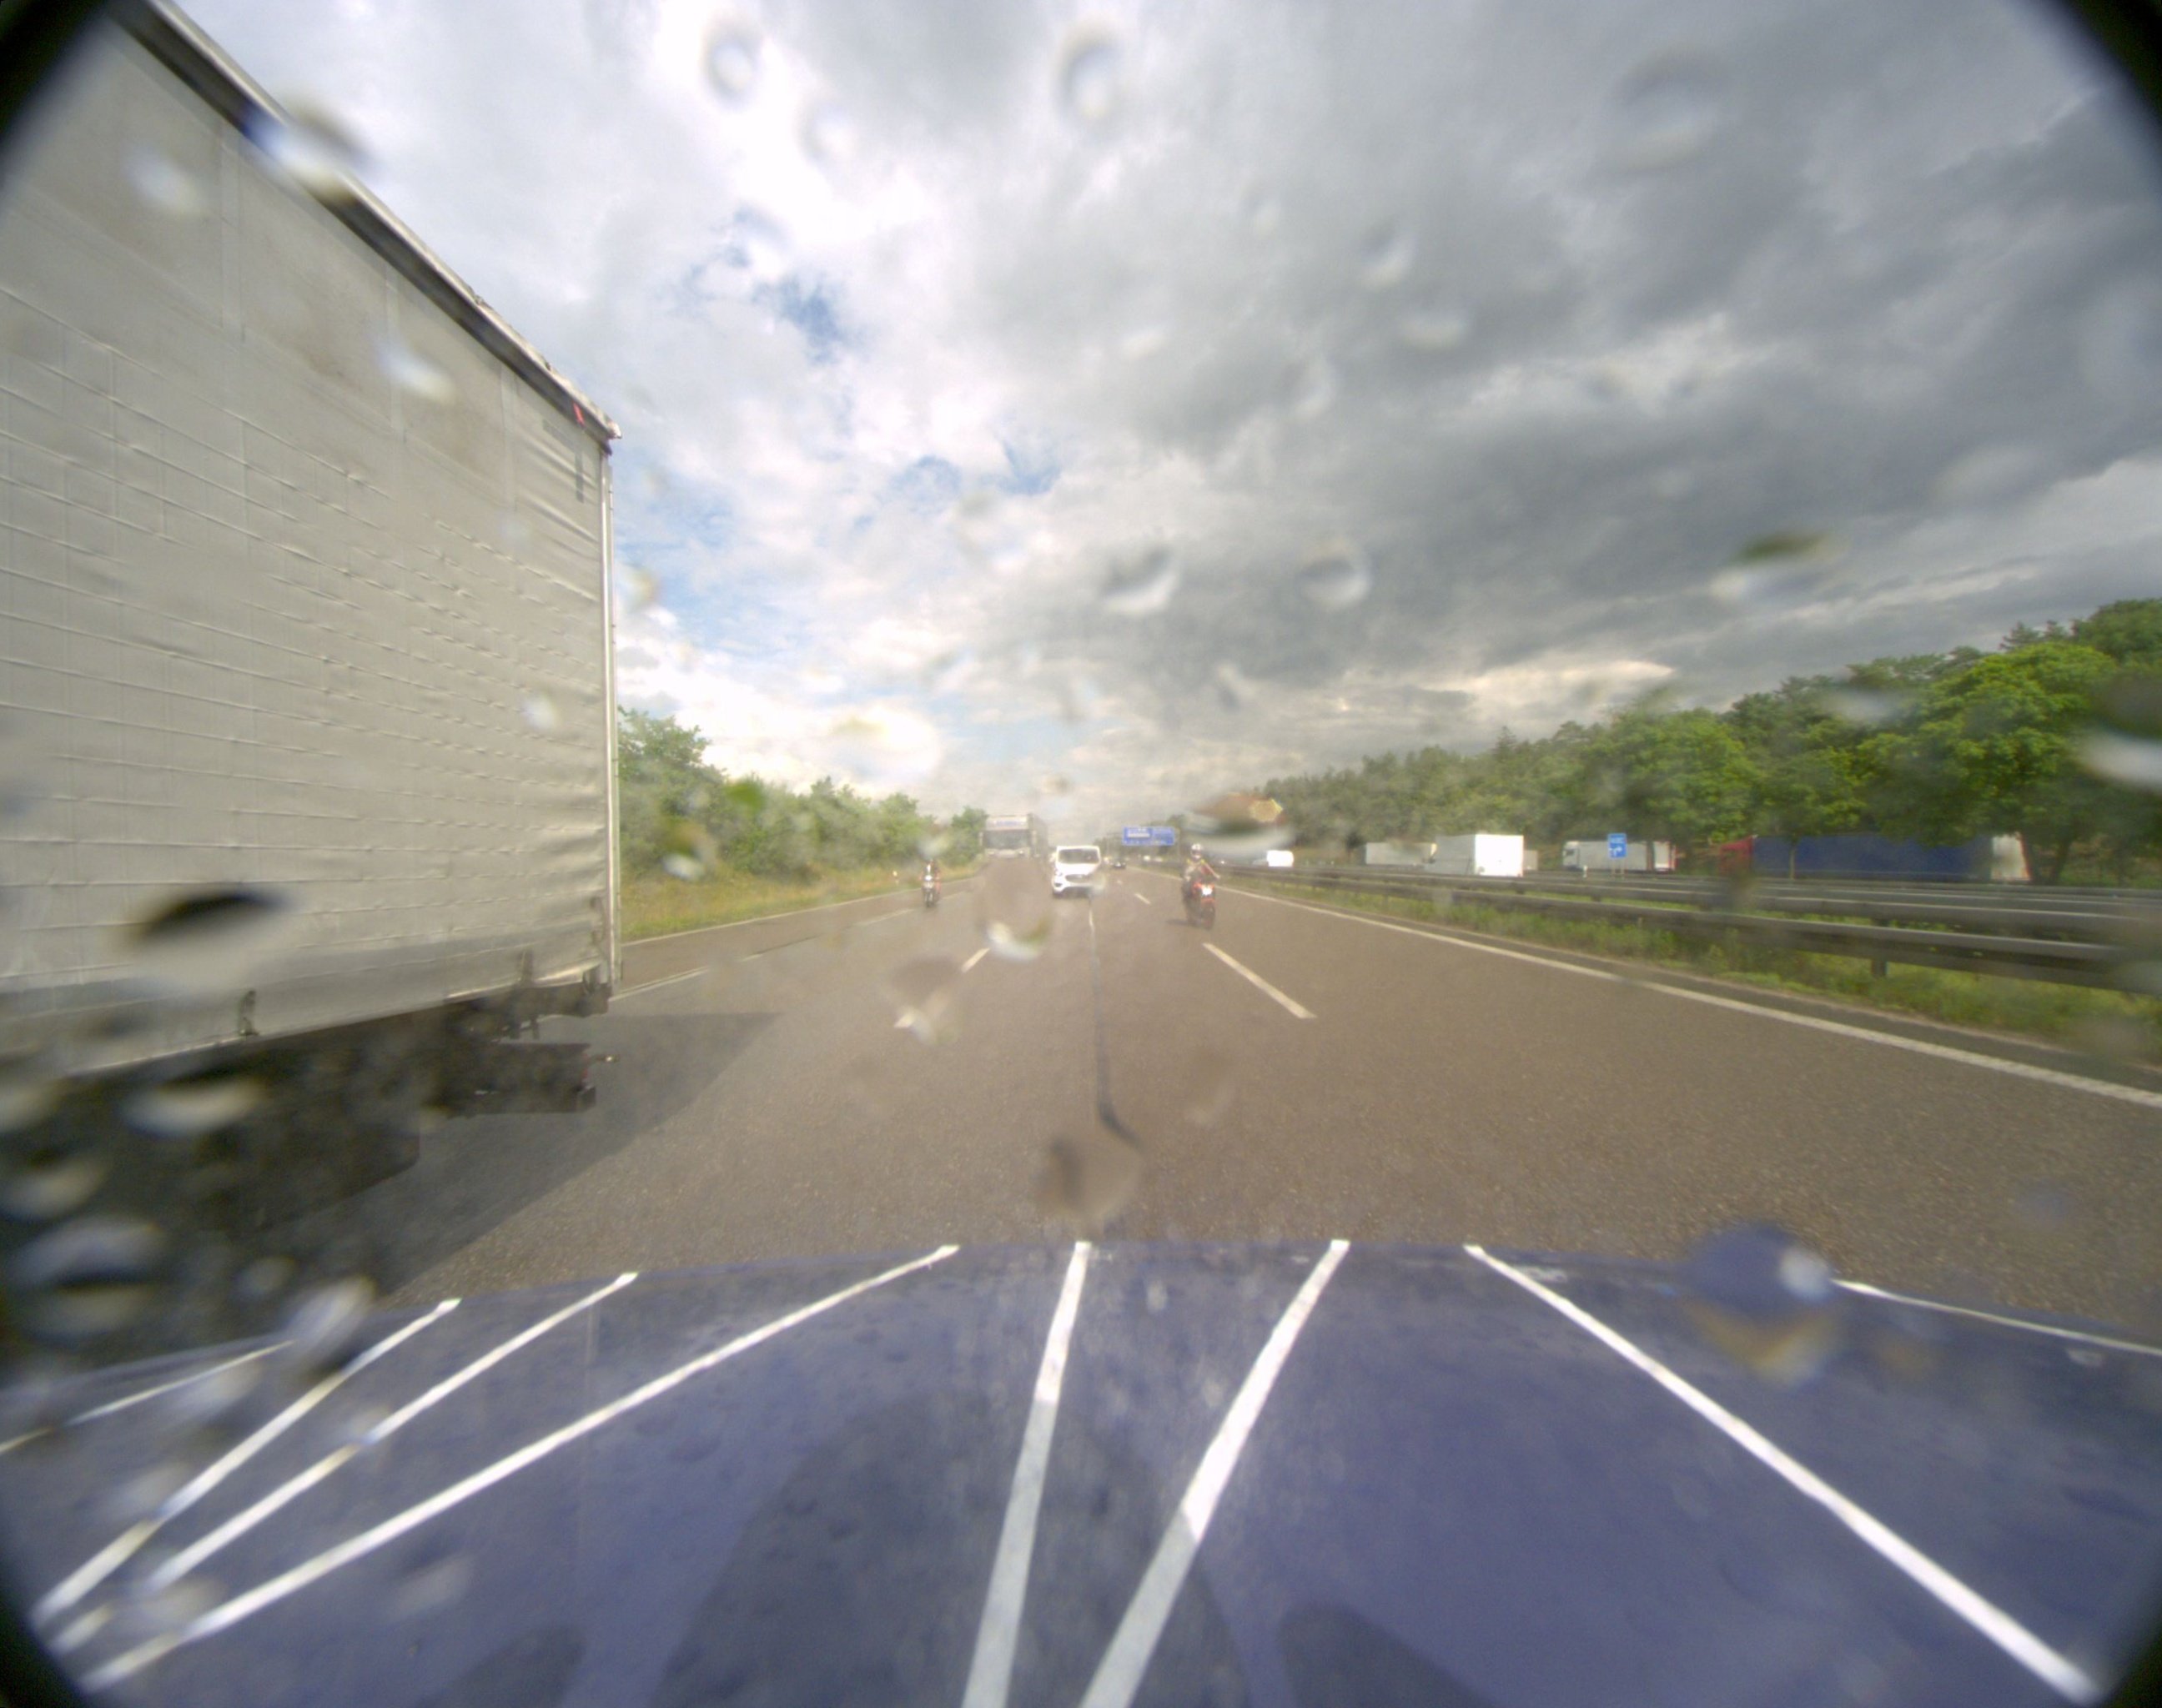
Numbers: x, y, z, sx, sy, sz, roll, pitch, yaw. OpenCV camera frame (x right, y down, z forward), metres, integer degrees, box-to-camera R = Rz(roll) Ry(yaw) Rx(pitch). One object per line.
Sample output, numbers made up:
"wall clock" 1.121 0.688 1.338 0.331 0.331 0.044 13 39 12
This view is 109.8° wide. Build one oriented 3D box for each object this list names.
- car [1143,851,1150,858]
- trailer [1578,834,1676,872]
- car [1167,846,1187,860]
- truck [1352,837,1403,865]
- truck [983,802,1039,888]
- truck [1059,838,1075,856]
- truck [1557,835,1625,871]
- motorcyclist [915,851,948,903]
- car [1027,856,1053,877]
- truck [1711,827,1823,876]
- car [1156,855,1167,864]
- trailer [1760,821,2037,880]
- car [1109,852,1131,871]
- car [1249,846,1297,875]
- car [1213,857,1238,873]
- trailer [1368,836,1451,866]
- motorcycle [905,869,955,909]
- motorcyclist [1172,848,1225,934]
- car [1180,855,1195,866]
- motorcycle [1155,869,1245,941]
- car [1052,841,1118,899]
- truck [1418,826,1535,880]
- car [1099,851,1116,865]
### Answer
"car" 19.767 0.112 229.156 1.835 2.033 4.778 -2 1 0
"trailer" 50.071 -0.112 69.978 2.588 3.214 7.734 -1 0 -9
"car" 13.922 -0.129 110.272 2.306 1.880 4.778 -2 1 0
"truck" 41.713 -0.465 107.194 3.219 3.683 6.908 -2 1 -14
"truck" -3.712 -0.499 41.724 2.650 4.249 6.882 -2 1 -3
"truck" -3.017 -1.563 164.934 3.218 3.607 10.153 -2 1 0
"truck" 49.361 -0.112 73.721 2.663 3.249 5.081 -2 1 -10
"motorcyclist" -5.014 0.761 25.513 0.883 1.696 1.000 -2 1 -2
"car" -4.312 1.305 80.114 2.350 2.033 5.142 -2 1 0
"truck" 51.988 -0.212 57.799 2.869 3.436 5.893 -2 1 -7
"car" 17.939 1.292 169.578 1.835 1.880 4.778 -2 1 0
"trailer" 52.844 -0.212 50.212 2.831 3.385 13.417 -1 0 -7
"car" 4.697 0.895 91.339 2.350 2.033 5.142 -2 1 0
"car" 13.469 0.439 53.614 2.051 1.880 5.259 -2 1 0
"car" 18.184 1.372 95.891 2.306 1.880 4.778 -2 1 0
"trailer" 43.297 -0.440 100.806 3.216 3.717 12.554 -1 0 -13
"motorcycle" -5.054 1.149 25.706 1.188 1.142 3.193 -2 1 -3
"motorcyclist" 2.423 0.733 15.787 0.883 1.696 1.000 -2 1 -2
"car" 18.415 1.119 131.883 1.835 1.880 4.778 -2 1 0
"motorcycle" 2.391 0.980 15.823 1.188 1.219 3.193 -2 1 -3
"car" 0.166 0.571 30.396 2.350 2.033 5.142 -2 1 0
"truck" 21.887 -0.071 42.551 2.849 2.666 7.191 -2 1 1
"car" 4.075 0.654 118.067 2.350 2.033 5.142 -2 1 0
